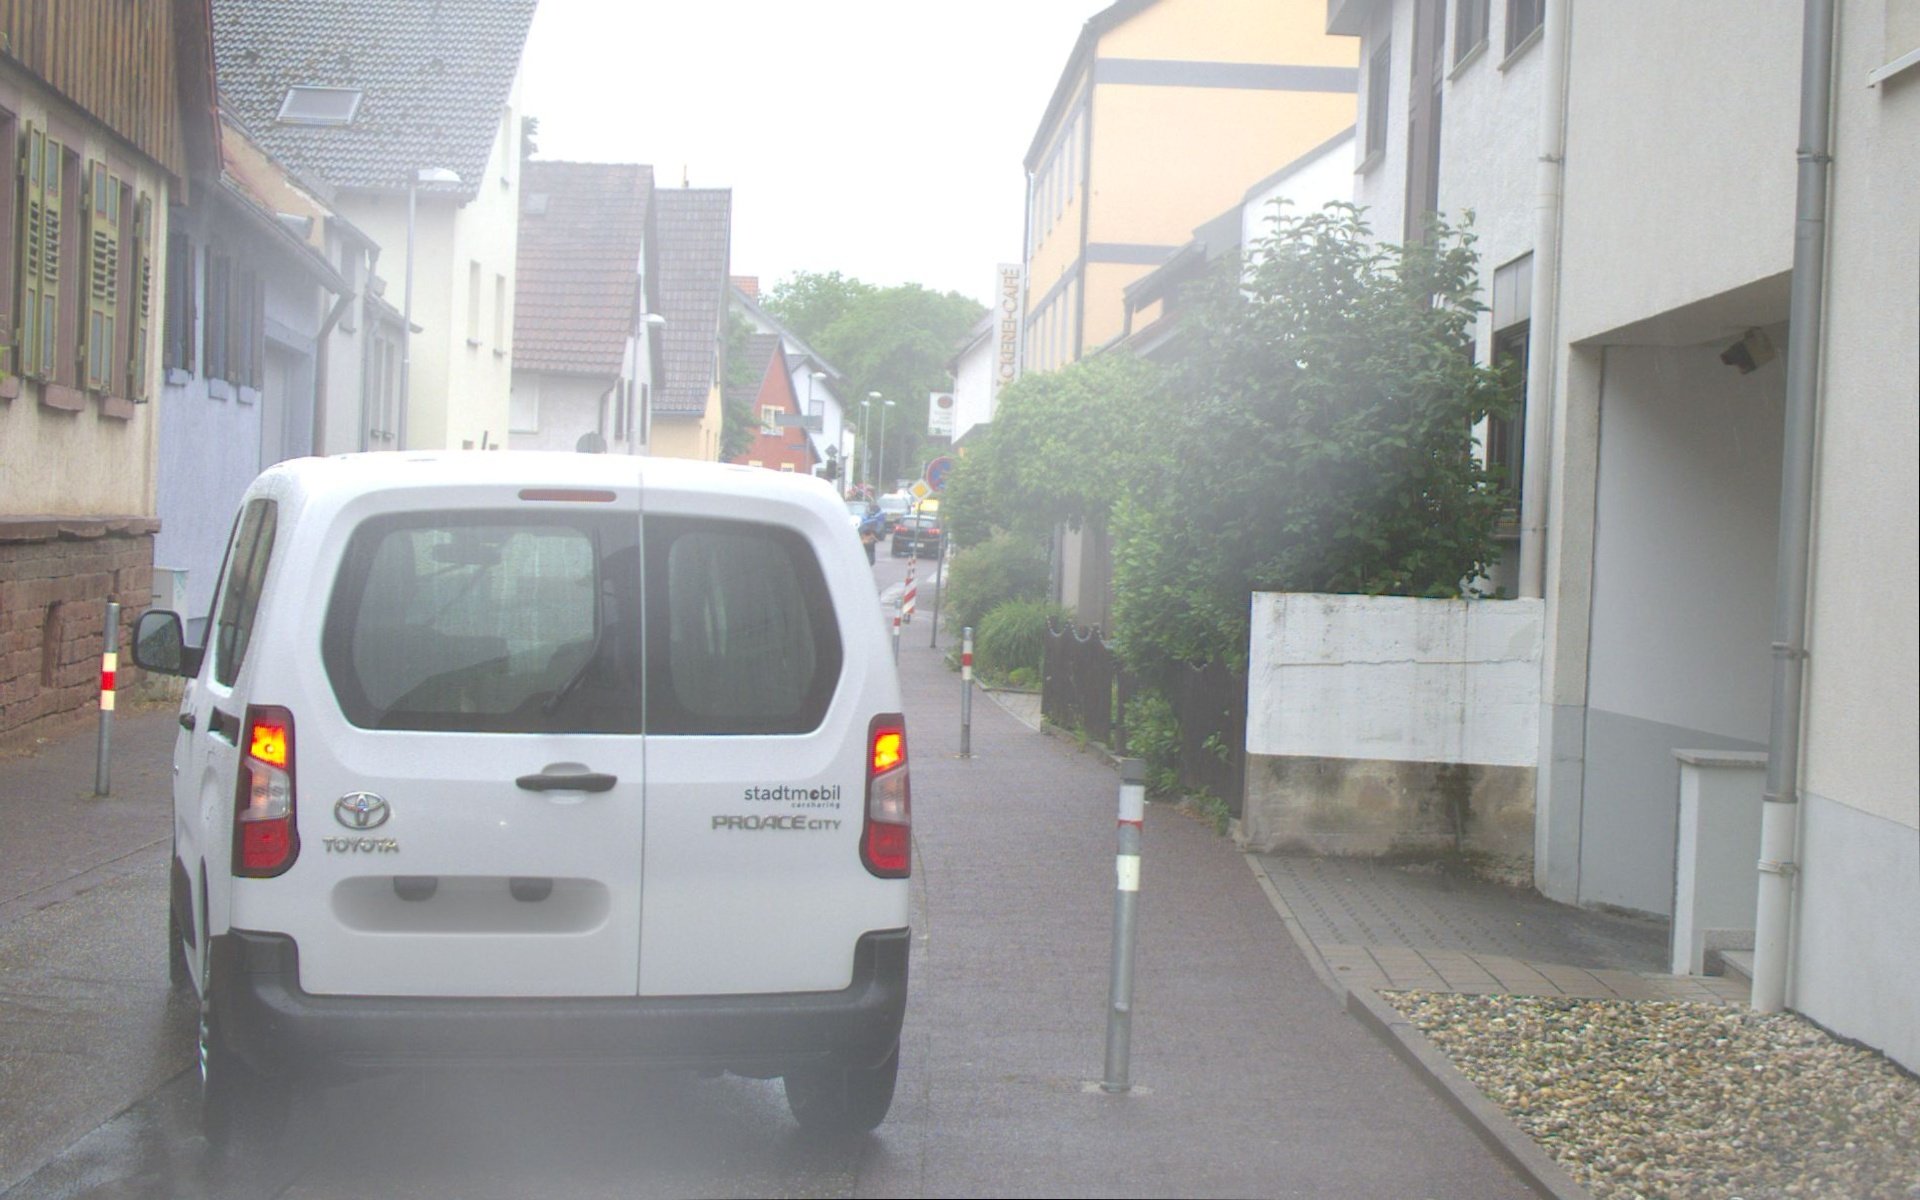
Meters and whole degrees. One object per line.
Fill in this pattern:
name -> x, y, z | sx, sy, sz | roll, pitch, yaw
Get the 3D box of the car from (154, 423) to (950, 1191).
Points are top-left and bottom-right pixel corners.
car -> -1.398, 0.455, 10.091 | 1.774, 1.774, 4.001 | 1, 1, -14

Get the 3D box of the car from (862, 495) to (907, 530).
car -> -3.398, -3.931, 154.707 | 1.589, 1.436, 3.765 | 4, 1, 4

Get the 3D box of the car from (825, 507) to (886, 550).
car -> -4.067, -2.787, 133.774 | 1.994, 1.554, 3.431 | -1, 3, 4

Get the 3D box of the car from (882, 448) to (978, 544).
car -> -0.627, -2.240, 74.967 | 1.993, 2.007, 4.000 | 1, 1, 0

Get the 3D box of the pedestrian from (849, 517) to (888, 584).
pedestrian -> -2.630, -1.420, 98.798 | 1.050, 1.886, 0.877 | 1, 1, -3
